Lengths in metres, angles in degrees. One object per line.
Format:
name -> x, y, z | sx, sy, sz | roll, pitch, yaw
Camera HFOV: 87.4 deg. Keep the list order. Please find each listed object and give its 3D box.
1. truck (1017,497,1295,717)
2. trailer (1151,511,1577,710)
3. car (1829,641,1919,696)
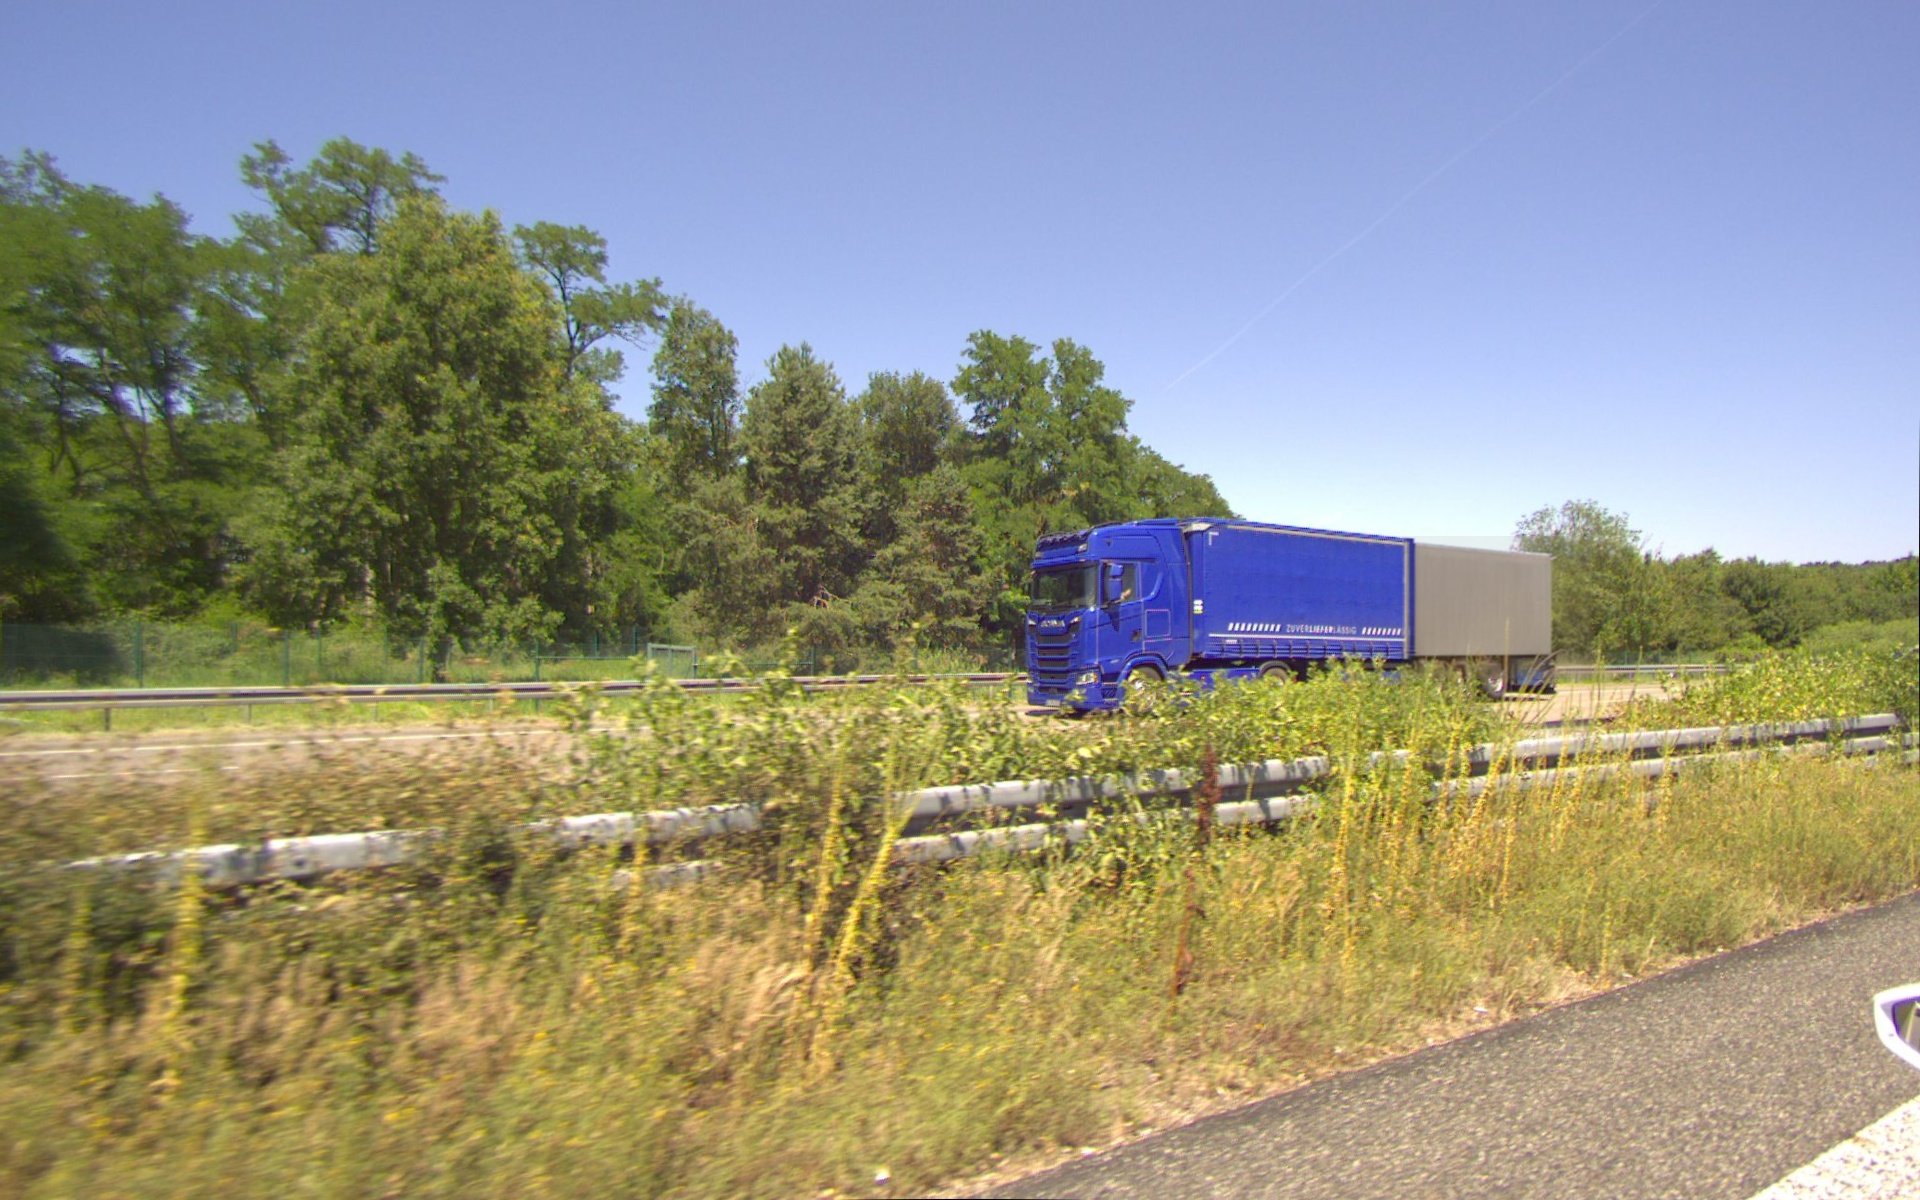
truck -> 4.262, 0.259, 21.658 | 5.617, 4.187, 2.456 | 1, -4, -30
trailer -> 10.755, 0.439, 25.553 | 13.311, 4.185, 2.461 | 2, -4, -31
car -> 26.920, 1.930, 28.710 | 4.490, 1.457, 1.745 | 1, -4, -30
